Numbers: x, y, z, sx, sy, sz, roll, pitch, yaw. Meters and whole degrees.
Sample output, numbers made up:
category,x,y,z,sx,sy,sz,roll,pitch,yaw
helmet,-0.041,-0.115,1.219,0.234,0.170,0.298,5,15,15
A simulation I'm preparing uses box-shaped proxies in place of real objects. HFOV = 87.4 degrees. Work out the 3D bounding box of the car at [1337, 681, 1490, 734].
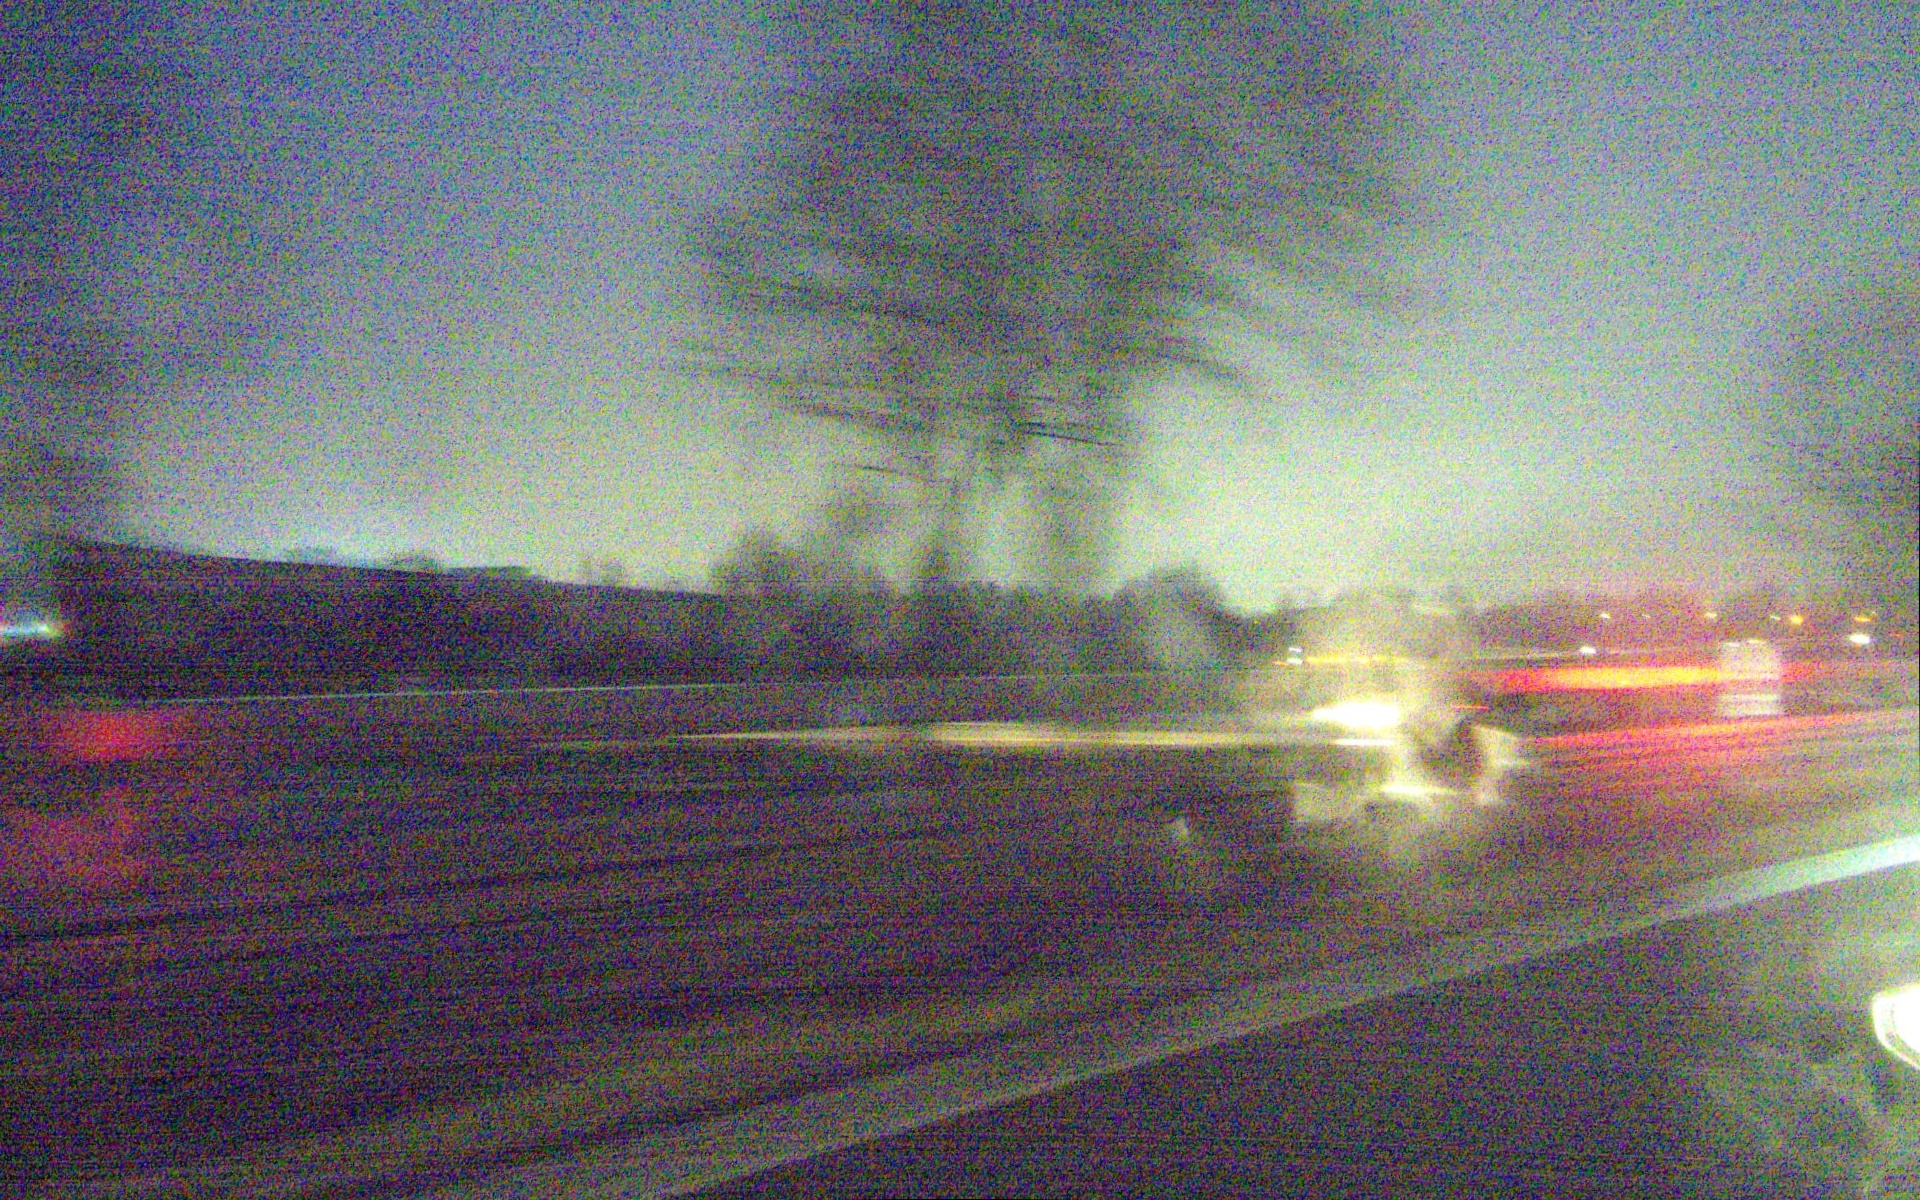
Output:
category,x,y,z,sx,sy,sz,roll,pitch,yaw
car,13.173,3.116,29.236,3.863,1.416,1.727,2,-4,-15
